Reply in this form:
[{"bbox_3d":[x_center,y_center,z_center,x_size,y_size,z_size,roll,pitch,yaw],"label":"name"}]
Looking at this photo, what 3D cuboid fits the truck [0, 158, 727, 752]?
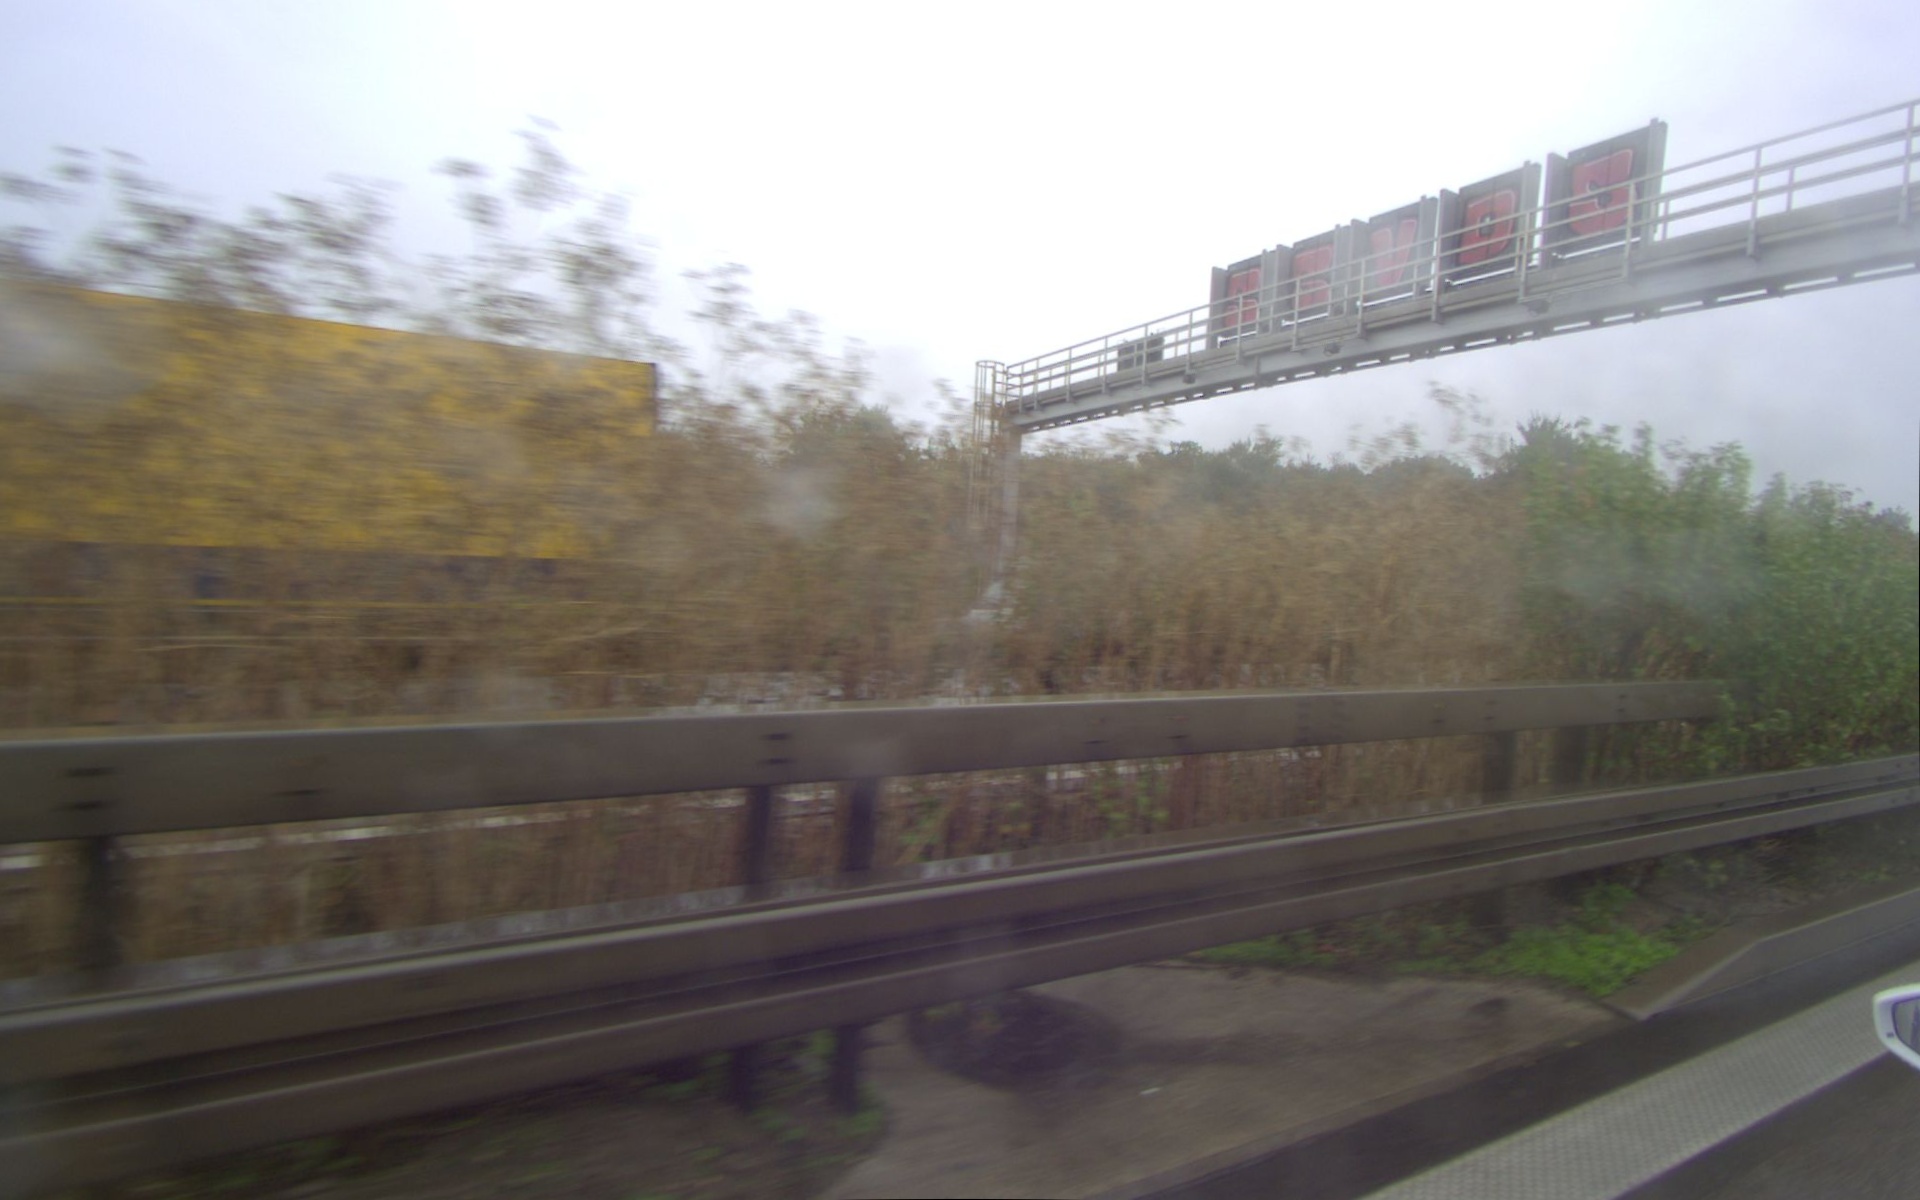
[{"bbox_3d":[-11.731,-1.304,9.452,18.000,5.112,4.686,1,0,-28],"label":"truck"}]
